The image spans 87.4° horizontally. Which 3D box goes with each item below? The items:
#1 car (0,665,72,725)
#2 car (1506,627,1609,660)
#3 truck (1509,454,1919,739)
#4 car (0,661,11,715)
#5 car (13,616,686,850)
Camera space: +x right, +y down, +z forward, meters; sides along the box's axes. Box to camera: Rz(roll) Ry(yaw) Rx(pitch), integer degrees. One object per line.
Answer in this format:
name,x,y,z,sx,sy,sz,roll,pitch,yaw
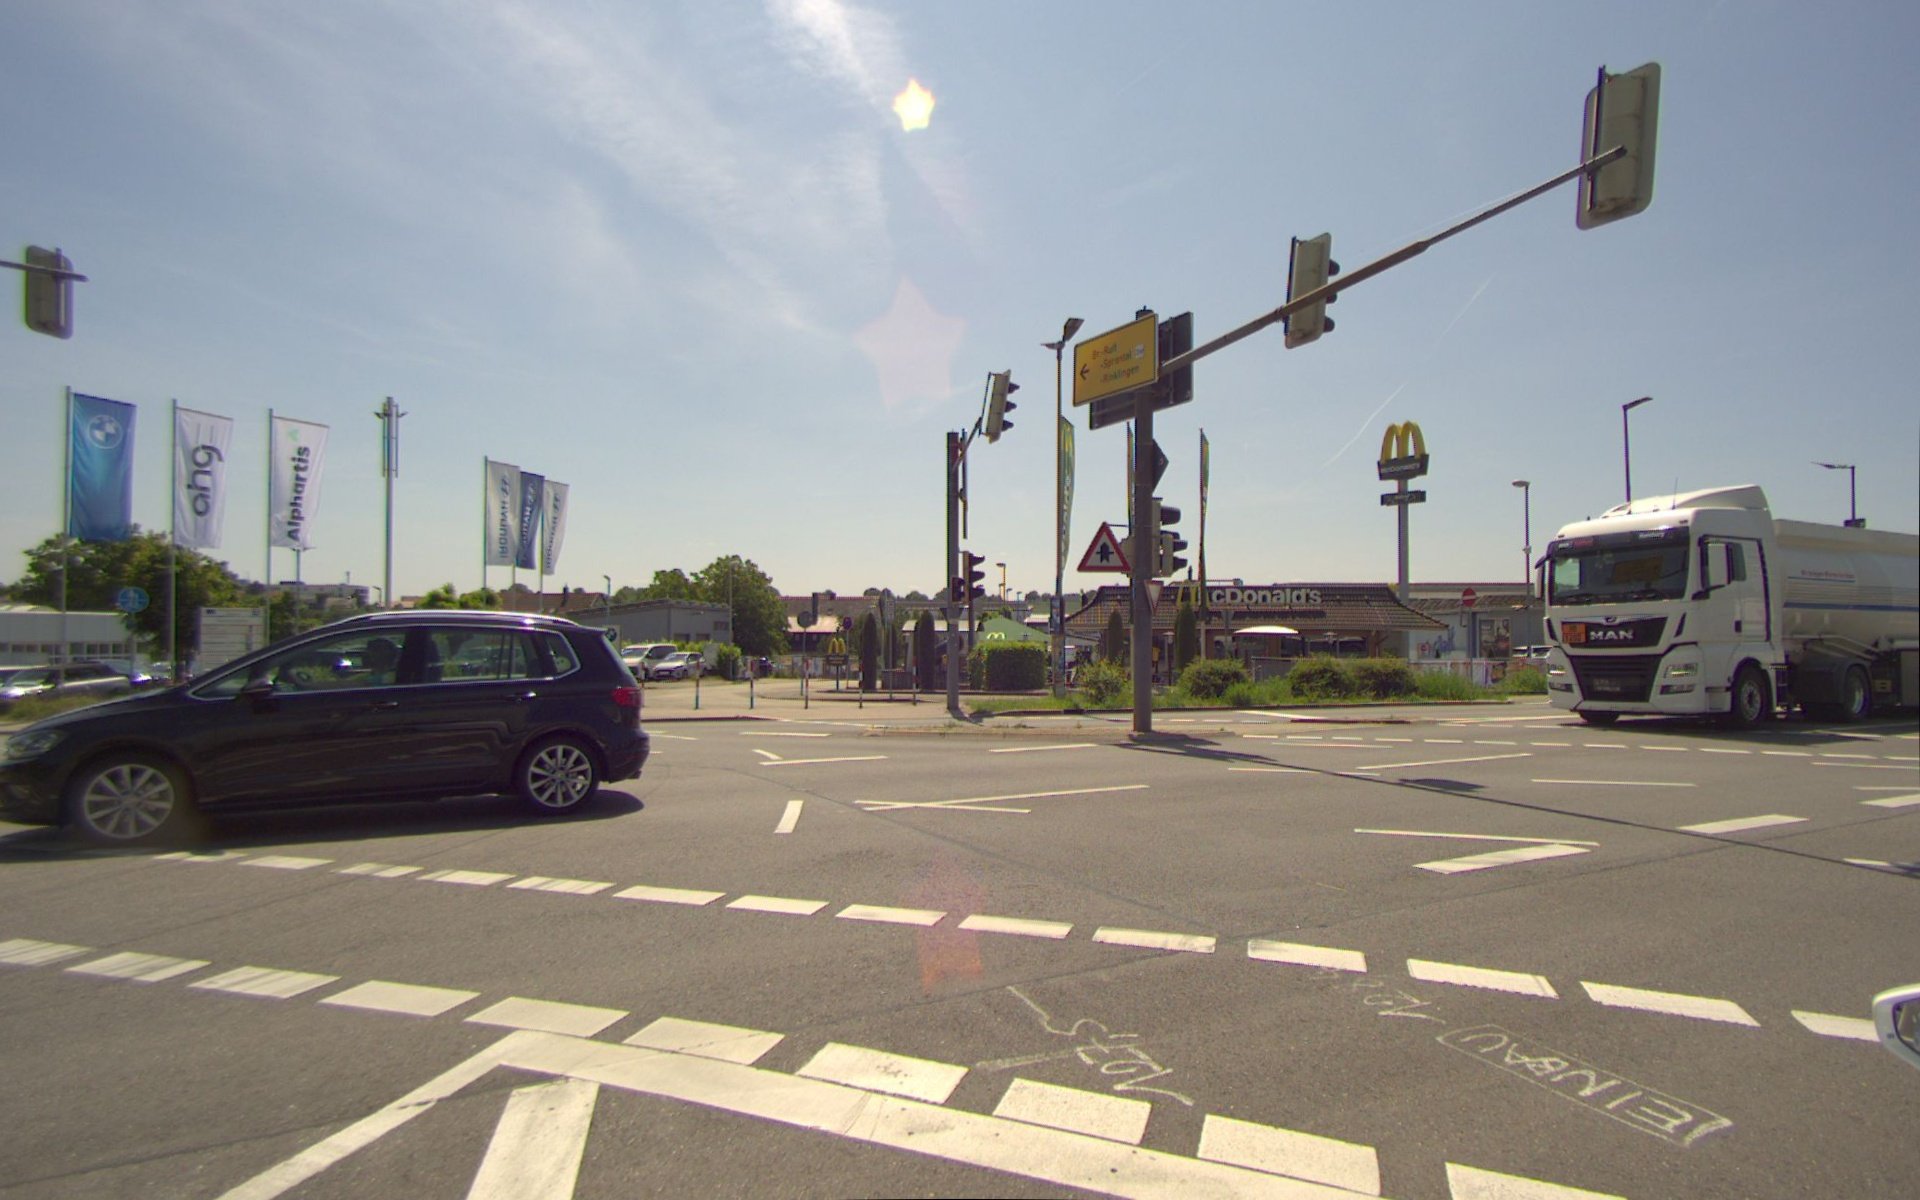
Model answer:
car,-27.414,2.635,27.738,1.959,1.594,4.003,0,-3,7
car,29.459,2.147,49.627,3.920,1.483,2.001,1,-1,4
truck,16.317,0.165,19.040,14.940,4.071,2.595,2,-3,-28
car,-29.798,2.551,28.335,1.959,1.594,4.003,0,-3,7
car,-4.435,0.932,7.971,4.102,1.447,1.677,2,-3,-28
